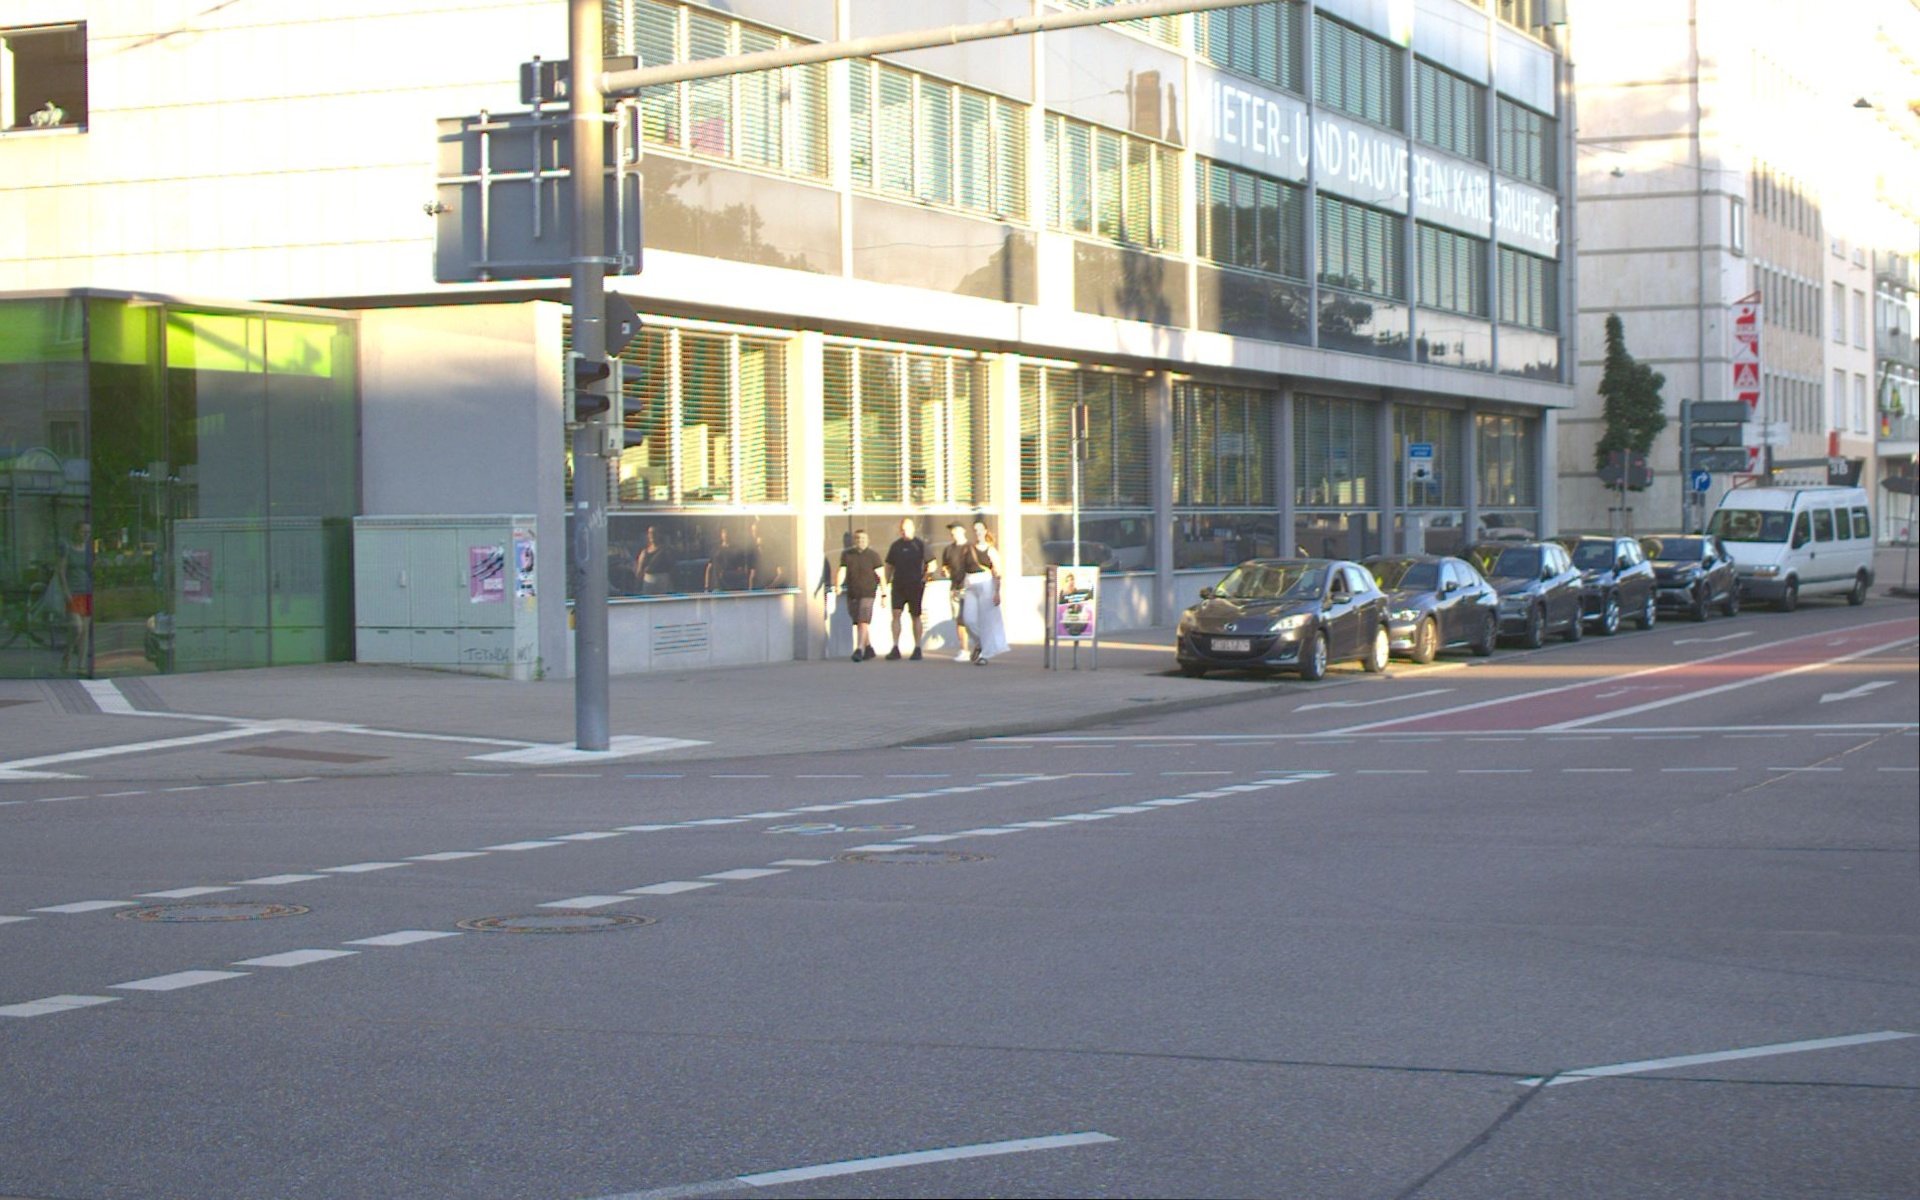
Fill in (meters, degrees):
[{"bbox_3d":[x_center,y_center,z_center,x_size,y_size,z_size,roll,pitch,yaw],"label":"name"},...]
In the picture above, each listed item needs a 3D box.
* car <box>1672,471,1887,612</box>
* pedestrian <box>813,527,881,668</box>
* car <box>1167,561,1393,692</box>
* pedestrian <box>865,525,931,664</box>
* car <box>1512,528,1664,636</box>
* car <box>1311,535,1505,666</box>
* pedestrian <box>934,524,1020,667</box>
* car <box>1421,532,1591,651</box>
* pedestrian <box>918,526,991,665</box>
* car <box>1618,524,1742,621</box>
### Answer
[{"bbox_3d":[16.643,-1.186,69.576,2.242,2.620,5.842,5,3,33],"label":"car"},{"bbox_3d":[-1.422,-0.034,43.395,0.653,1.762,0.645,0,1,19],"label":"pedestrian"},{"bbox_3d":[4.039,0.292,42.885,1.695,1.406,3.864,4,3,22],"label":"car"},{"bbox_3d":[-0.792,-0.074,44.125,0.653,1.762,0.645,0,1,19],"label":"pedestrian"},{"bbox_3d":[10.676,-0.337,58.259,1.695,1.659,3.864,4,3,22],"label":"car"},{"bbox_3d":[6.352,-0.033,48.432,1.695,1.659,3.864,4,3,22],"label":"car"},{"bbox_3d":[0.215,-0.065,42.924,0.841,1.762,0.785,0,1,19],"label":"pedestrian"},{"bbox_3d":[8.526,-0.169,53.430,1.695,1.659,3.864,4,3,22],"label":"car"},{"bbox_3d":[-0.065,-0.061,43.903,0.739,1.762,0.672,0,1,19],"label":"pedestrian"},{"bbox_3d":[13.400,-0.533,63.832,1.501,1.659,3.864,4,3,22],"label":"car"}]
